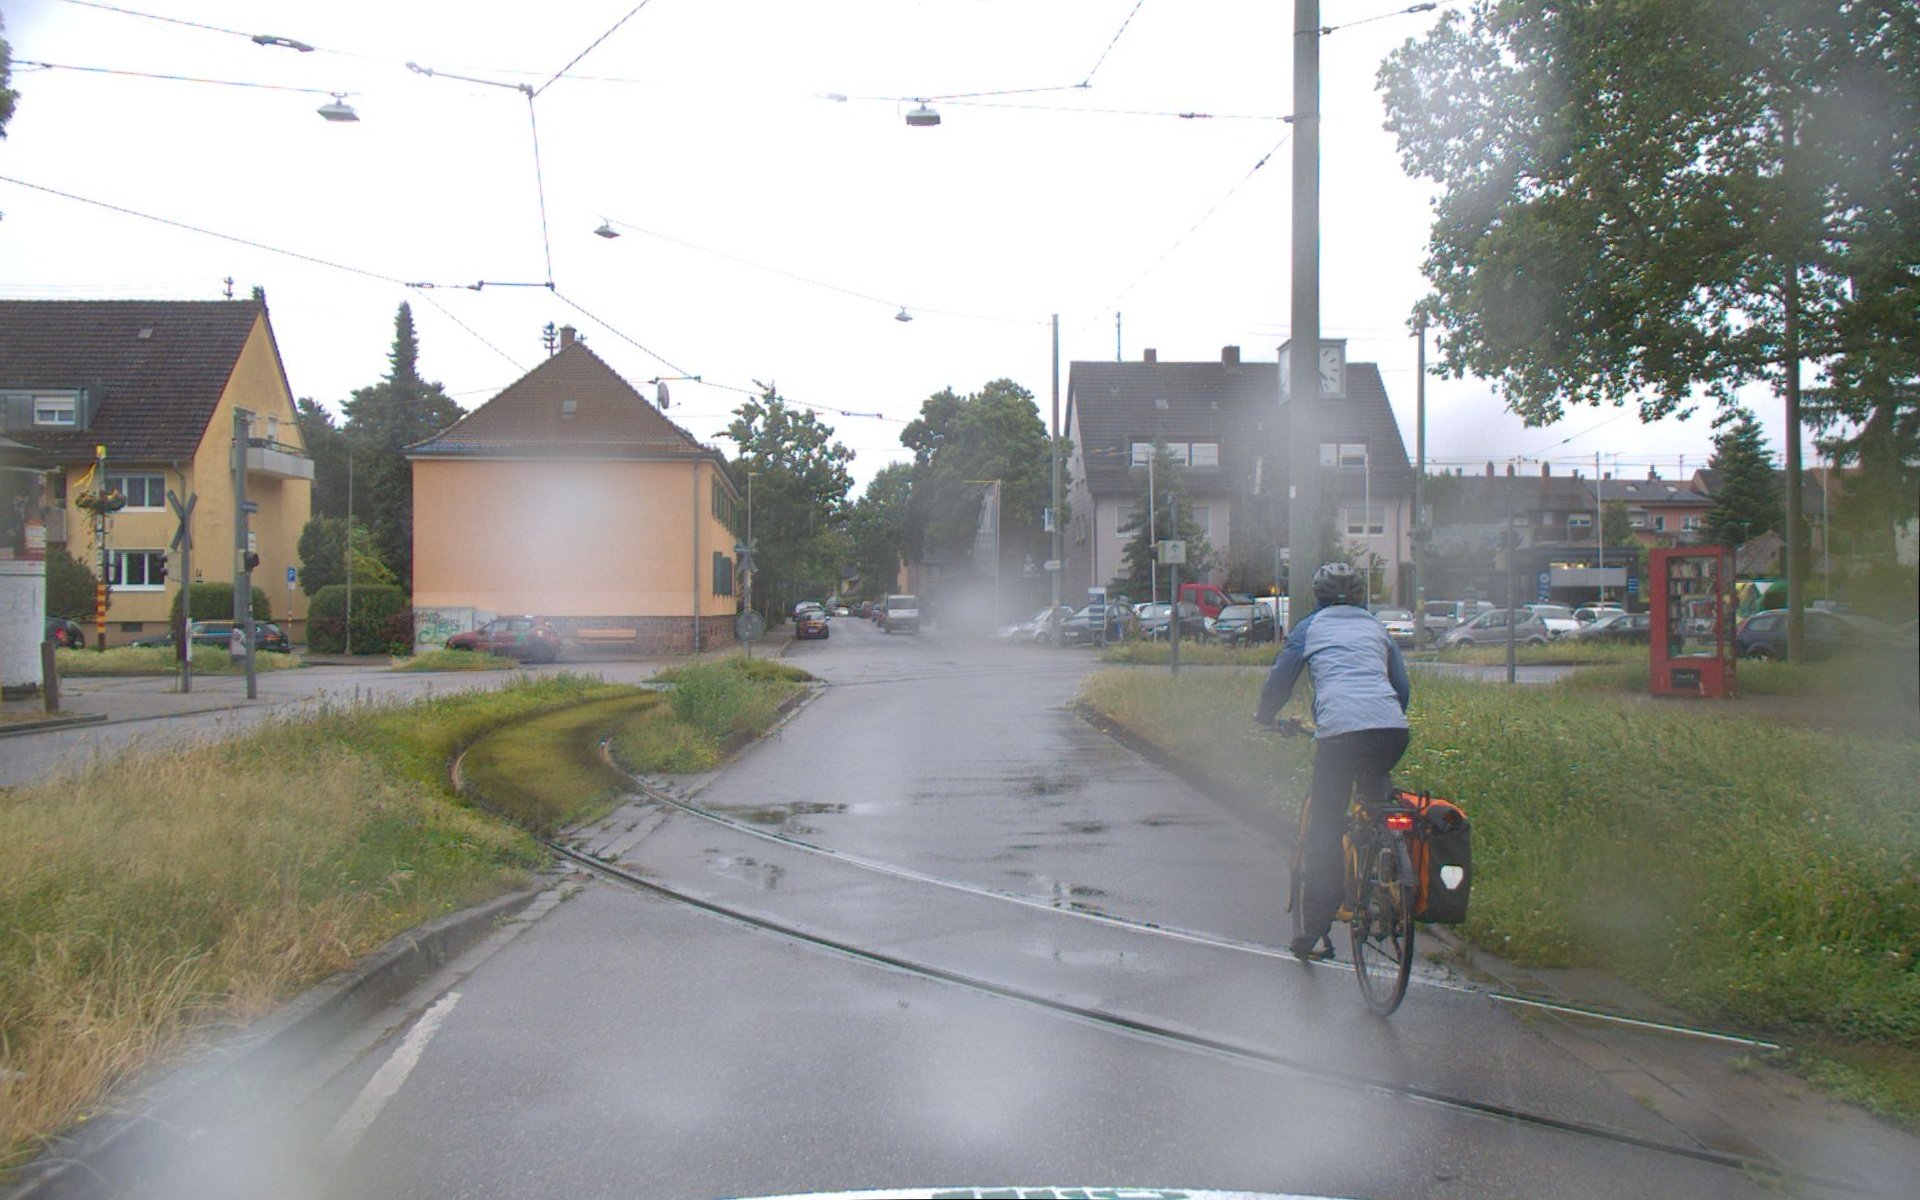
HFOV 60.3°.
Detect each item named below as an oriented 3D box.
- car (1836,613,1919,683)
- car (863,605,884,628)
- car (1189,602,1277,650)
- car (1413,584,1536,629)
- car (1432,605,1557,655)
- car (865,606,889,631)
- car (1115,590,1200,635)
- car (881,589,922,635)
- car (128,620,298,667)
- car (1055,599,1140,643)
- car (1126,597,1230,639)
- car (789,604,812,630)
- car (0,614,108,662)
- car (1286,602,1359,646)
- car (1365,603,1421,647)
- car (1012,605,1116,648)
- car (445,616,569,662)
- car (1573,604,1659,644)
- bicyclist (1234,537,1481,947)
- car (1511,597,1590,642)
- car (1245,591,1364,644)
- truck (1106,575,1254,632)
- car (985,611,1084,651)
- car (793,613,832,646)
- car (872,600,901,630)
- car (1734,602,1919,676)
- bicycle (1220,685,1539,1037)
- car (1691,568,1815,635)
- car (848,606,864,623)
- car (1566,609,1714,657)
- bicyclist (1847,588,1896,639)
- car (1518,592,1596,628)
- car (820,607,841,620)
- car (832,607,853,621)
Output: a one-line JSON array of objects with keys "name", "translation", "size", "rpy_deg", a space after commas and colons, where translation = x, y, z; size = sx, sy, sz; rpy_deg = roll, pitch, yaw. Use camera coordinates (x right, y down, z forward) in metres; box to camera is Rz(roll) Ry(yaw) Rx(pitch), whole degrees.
[{"name": "car", "translation": [21.729, 1.047, 35.977], "size": [1.778, 1.502, 4.507], "rpy_deg": [0, 0, -28]}, {"name": "car", "translation": [-8.157, 1.536, 155.301], "size": [1.793, 2.049, 3.995], "rpy_deg": [2, -1, -5]}, {"name": "car", "translation": [10.175, 0.950, 61.469], "size": [1.956, 1.747, 3.993], "rpy_deg": [-1, -1, 29]}, {"name": "car", "translation": [20.597, 0.276, 66.315], "size": [4.342, 1.717, 1.760], "rpy_deg": [-1, -1, -1]}, {"name": "car", "translation": [17.716, 0.973, 54.872], "size": [3.559, 1.531, 1.722], "rpy_deg": [2, -1, -2]}, {"name": "car", "translation": [-6.881, 1.515, 136.664], "size": [1.793, 2.049, 3.995], "rpy_deg": [2, -1, -5]}, {"name": "car", "translation": [7.411, 0.442, 61.784], "size": [1.768, 1.606, 3.865], "rpy_deg": [-1, 0, 29]}, {"name": "car", "translation": [-3.507, 0.722, 98.296], "size": [2.111, 2.617, 4.129], "rpy_deg": [2, -1, -5]}, {"name": "car", "translation": [-23.196, 1.332, 51.499], "size": [4.403, 1.420, 1.965], "rpy_deg": [0, -1, -5]}, {"name": "car", "translation": [5.292, 0.787, 63.343], "size": [1.768, 1.606, 3.865], "rpy_deg": [-1, 0, 29]}, {"name": "car", "translation": [8.828, 0.733, 66.858], "size": [3.882, 1.626, 2.001], "rpy_deg": [-1, -1, 17]}, {"name": "car", "translation": [-13.149, 1.413, 136.826], "size": [1.793, 2.049, 3.995], "rpy_deg": [2, -1, -5]}, {"name": "car", "translation": [-28.763, 1.148, 51.096], "size": [3.910, 1.355, 1.758], "rpy_deg": [2, -1, -6]}, {"name": "car", "translation": [13.522, 0.906, 61.560], "size": [1.791, 1.530, 4.055], "rpy_deg": [1, -1, 25]}, {"name": "car", "translation": [16.109, 0.917, 61.696], "size": [1.788, 1.530, 4.061], "rpy_deg": [2, -1, 12]}, {"name": "car", "translation": [4.193, 1.057, 66.575], "size": [3.806, 1.606, 1.795], "rpy_deg": [-1, -1, -23]}, {"name": "car", "translation": [-14.501, 1.246, 53.099], "size": [3.535, 1.362, 1.721], "rpy_deg": [2, -1, -6]}, {"name": "car", "translation": [24.476, 0.887, 61.830], "size": [1.682, 1.420, 3.842], "rpy_deg": [2, -1, 1]}, {"name": "bicyclist", "translation": [1.559, 0.534, 6.616], "size": [0.735, 1.511, 0.846], "rpy_deg": [-1, -1, -1]}, {"name": "car", "translation": [22.110, 0.731, 62.080], "size": [1.682, 1.600, 3.617], "rpy_deg": [2, -1, 1]}, {"name": "car", "translation": [13.757, 0.719, 66.230], "size": [4.342, 2.049, 1.999], "rpy_deg": [-1, -1, -1]}, {"name": "truck", "translation": [9.343, 0.187, 70.117], "size": [5.954, 2.312, 2.001], "rpy_deg": [-1, -1, 17]}, {"name": "car", "translation": [3.147, 1.288, 69.857], "size": [3.806, 1.606, 1.795], "rpy_deg": [-1, -1, -23]}, {"name": "car", "translation": [-7.582, 1.497, 85.233], "size": [1.955, 1.646, 3.995], "rpy_deg": [0, -1, -5]}, {"name": "car", "translation": [-5.170, 1.049, 116.713], "size": [1.954, 2.049, 3.997], "rpy_deg": [2, -1, -3]}, {"name": "car", "translation": [19.047, 0.806, 35.493], "size": [1.781, 1.502, 4.130], "rpy_deg": [0, 0, -32]}, {"name": "bicycle", "translation": [1.580, 0.937, 6.596], "size": [0.737, 1.091, 1.926], "rpy_deg": [-1, -1, -1]}, {"name": "car", "translation": [30.621, 0.077, 64.091], "size": [2.102, 2.448, 5.146], "rpy_deg": [2, -1, -3]}, {"name": "car", "translation": [-12.636, 1.775, 200.439], "size": [1.793, 2.049, 3.995], "rpy_deg": [2, -1, -5]}, {"name": "car", "translation": [22.862, 1.110, 55.659], "size": [4.291, 1.362, 1.720], "rpy_deg": [3, -1, -6]}, {"name": "bicyclist", "translation": [29.893, 0.447, 54.262], "size": [1.018, 1.626, 0.949], "rpy_deg": [-1, -1, -4]}, {"name": "car", "translation": [26.932, 0.436, 74.749], "size": [1.747, 1.524, 3.995], "rpy_deg": [2, -1, -5]}, {"name": "car", "translation": [-17.524, 1.820, 223.916], "size": [1.801, 1.727, 4.009], "rpy_deg": [2, -1, -19]}, {"name": "car", "translation": [-15.519, 1.837, 218.589], "size": [1.801, 1.727, 4.009], "rpy_deg": [2, -1, -19]}]
